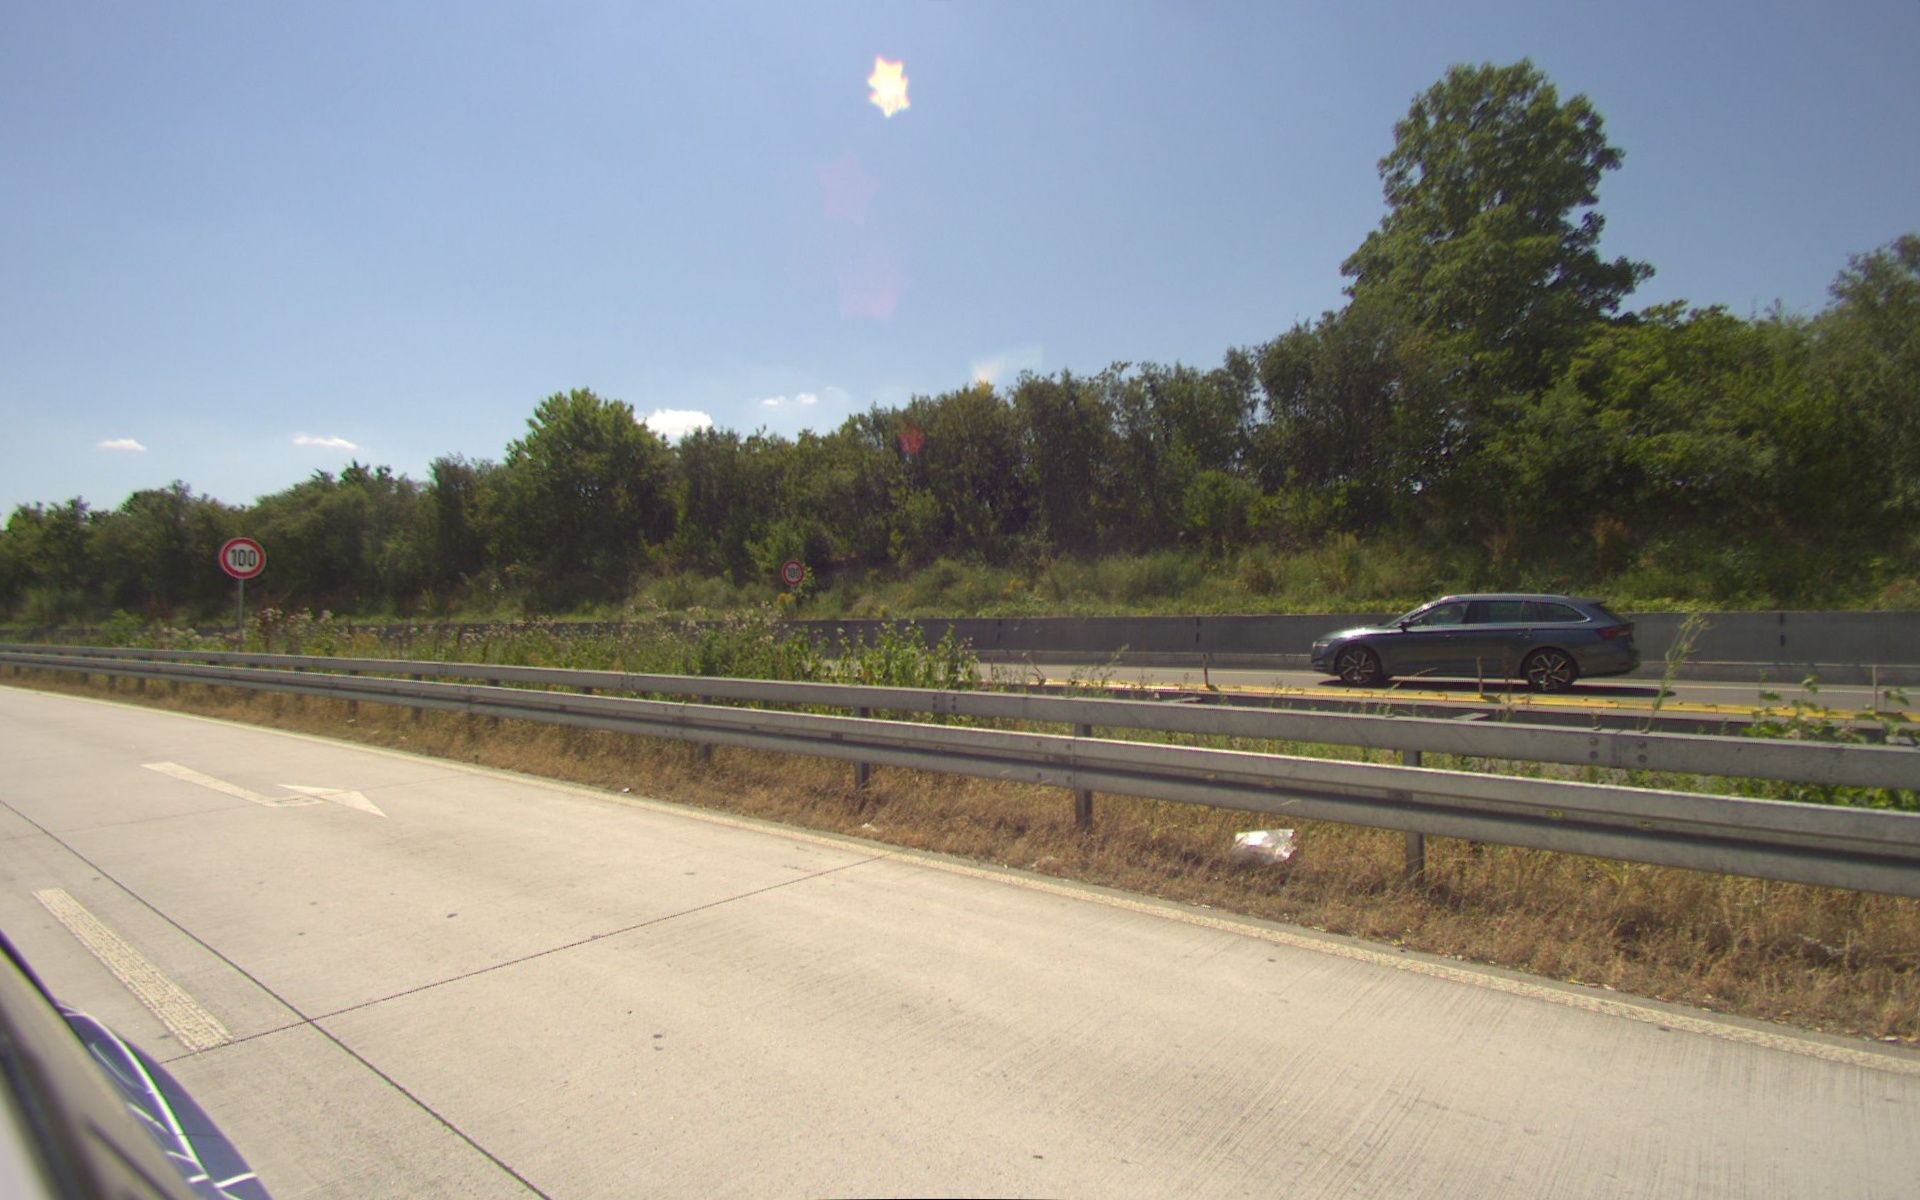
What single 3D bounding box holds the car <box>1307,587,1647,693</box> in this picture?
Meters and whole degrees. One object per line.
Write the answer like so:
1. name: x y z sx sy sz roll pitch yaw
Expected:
1. car: 8.083 0.572 16.010 4.592 1.458 1.856 -1 0 35
